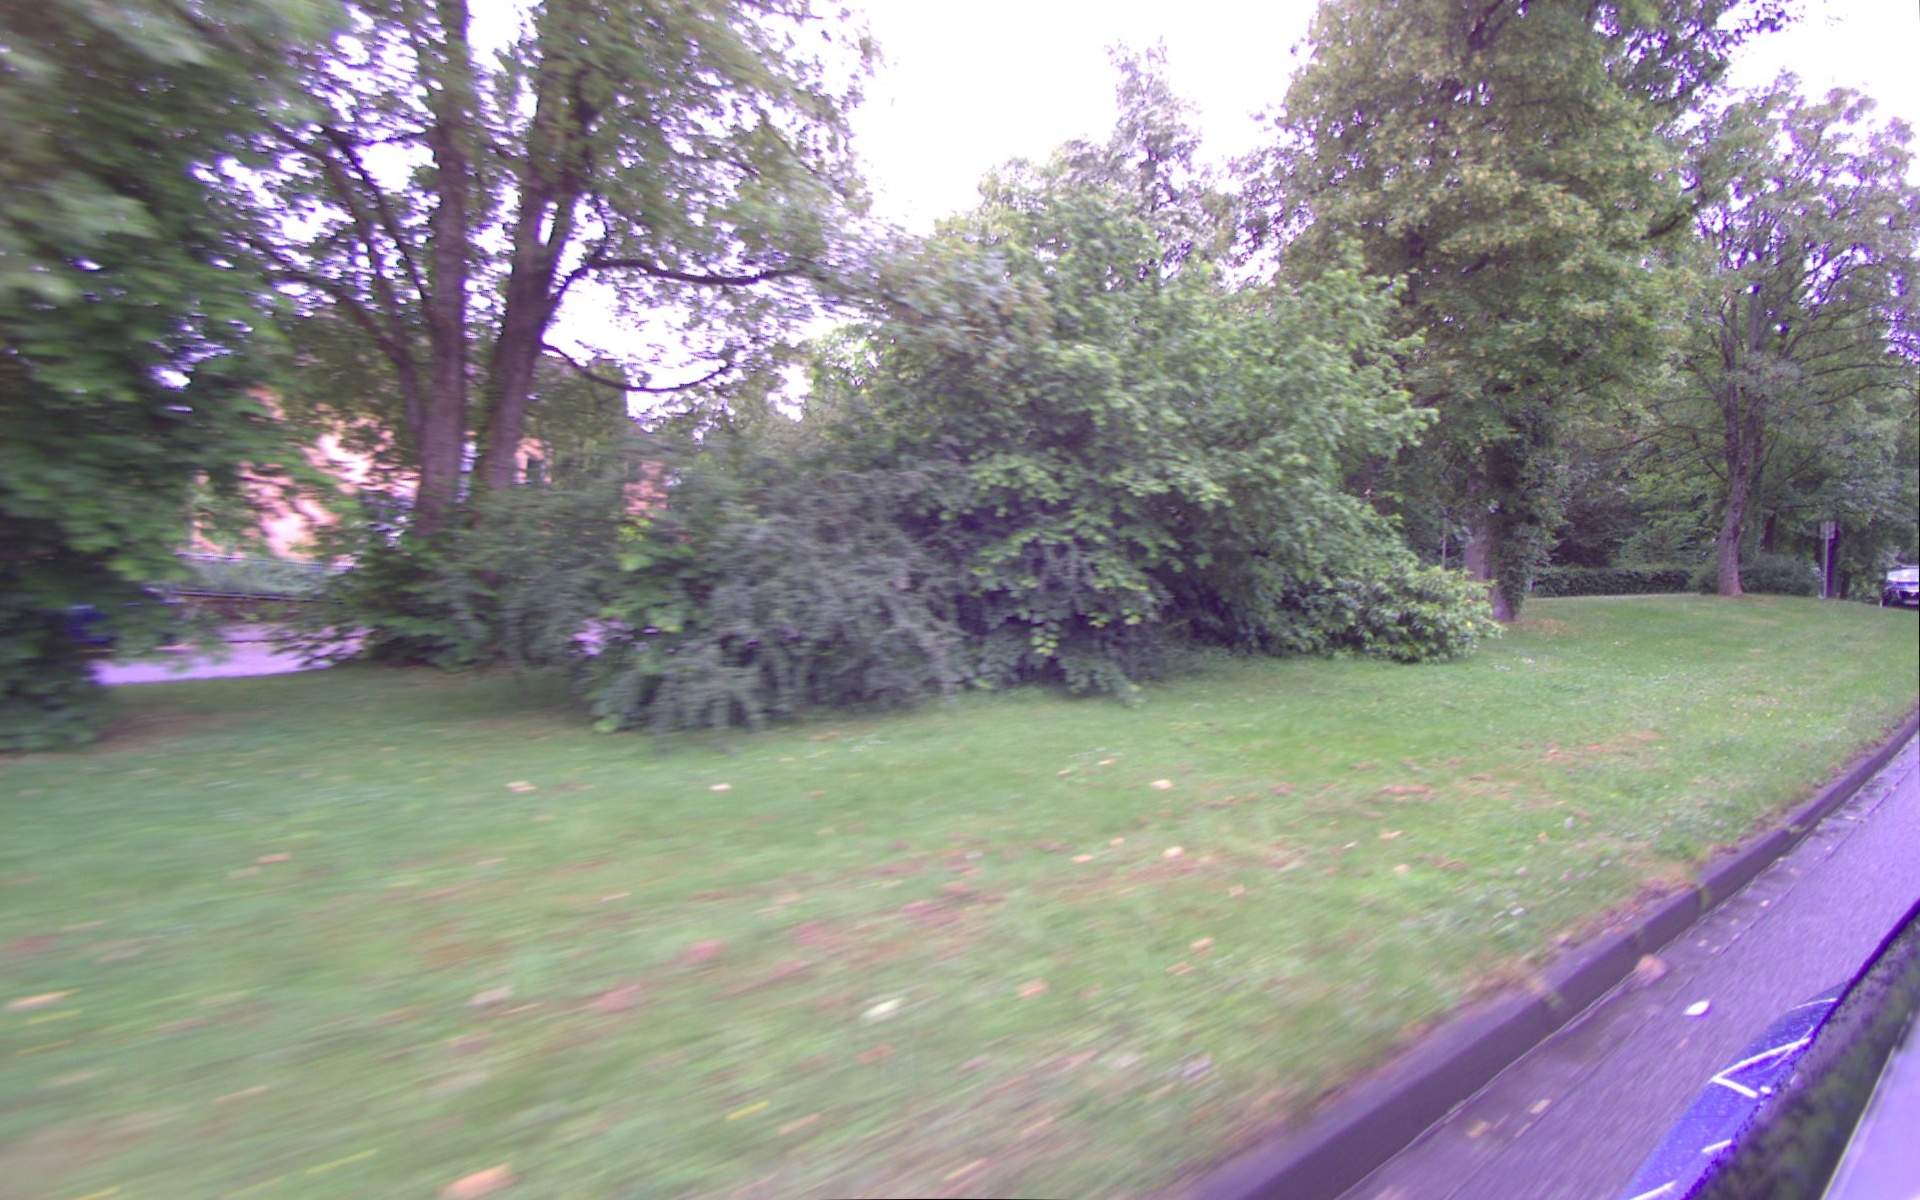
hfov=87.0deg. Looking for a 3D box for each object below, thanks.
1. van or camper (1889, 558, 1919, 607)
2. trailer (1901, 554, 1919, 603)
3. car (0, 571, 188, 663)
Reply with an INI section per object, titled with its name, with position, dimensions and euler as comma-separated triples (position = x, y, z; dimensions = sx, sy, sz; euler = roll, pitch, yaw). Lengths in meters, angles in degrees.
[van or camper]
position = 39.493, -0.670, 41.260
dimensions = 5.571, 1.891, 1.996
euler = -1, 3, -44
[trailer]
position = 42.766, -0.934, 44.545
dimensions = 3.886, 2.079, 1.698
euler = -1, 3, -44
[car]
position = -16.729, 0.279, 18.581
dimensions = 3.991, 1.497, 1.648
euler = -2, 5, -40
